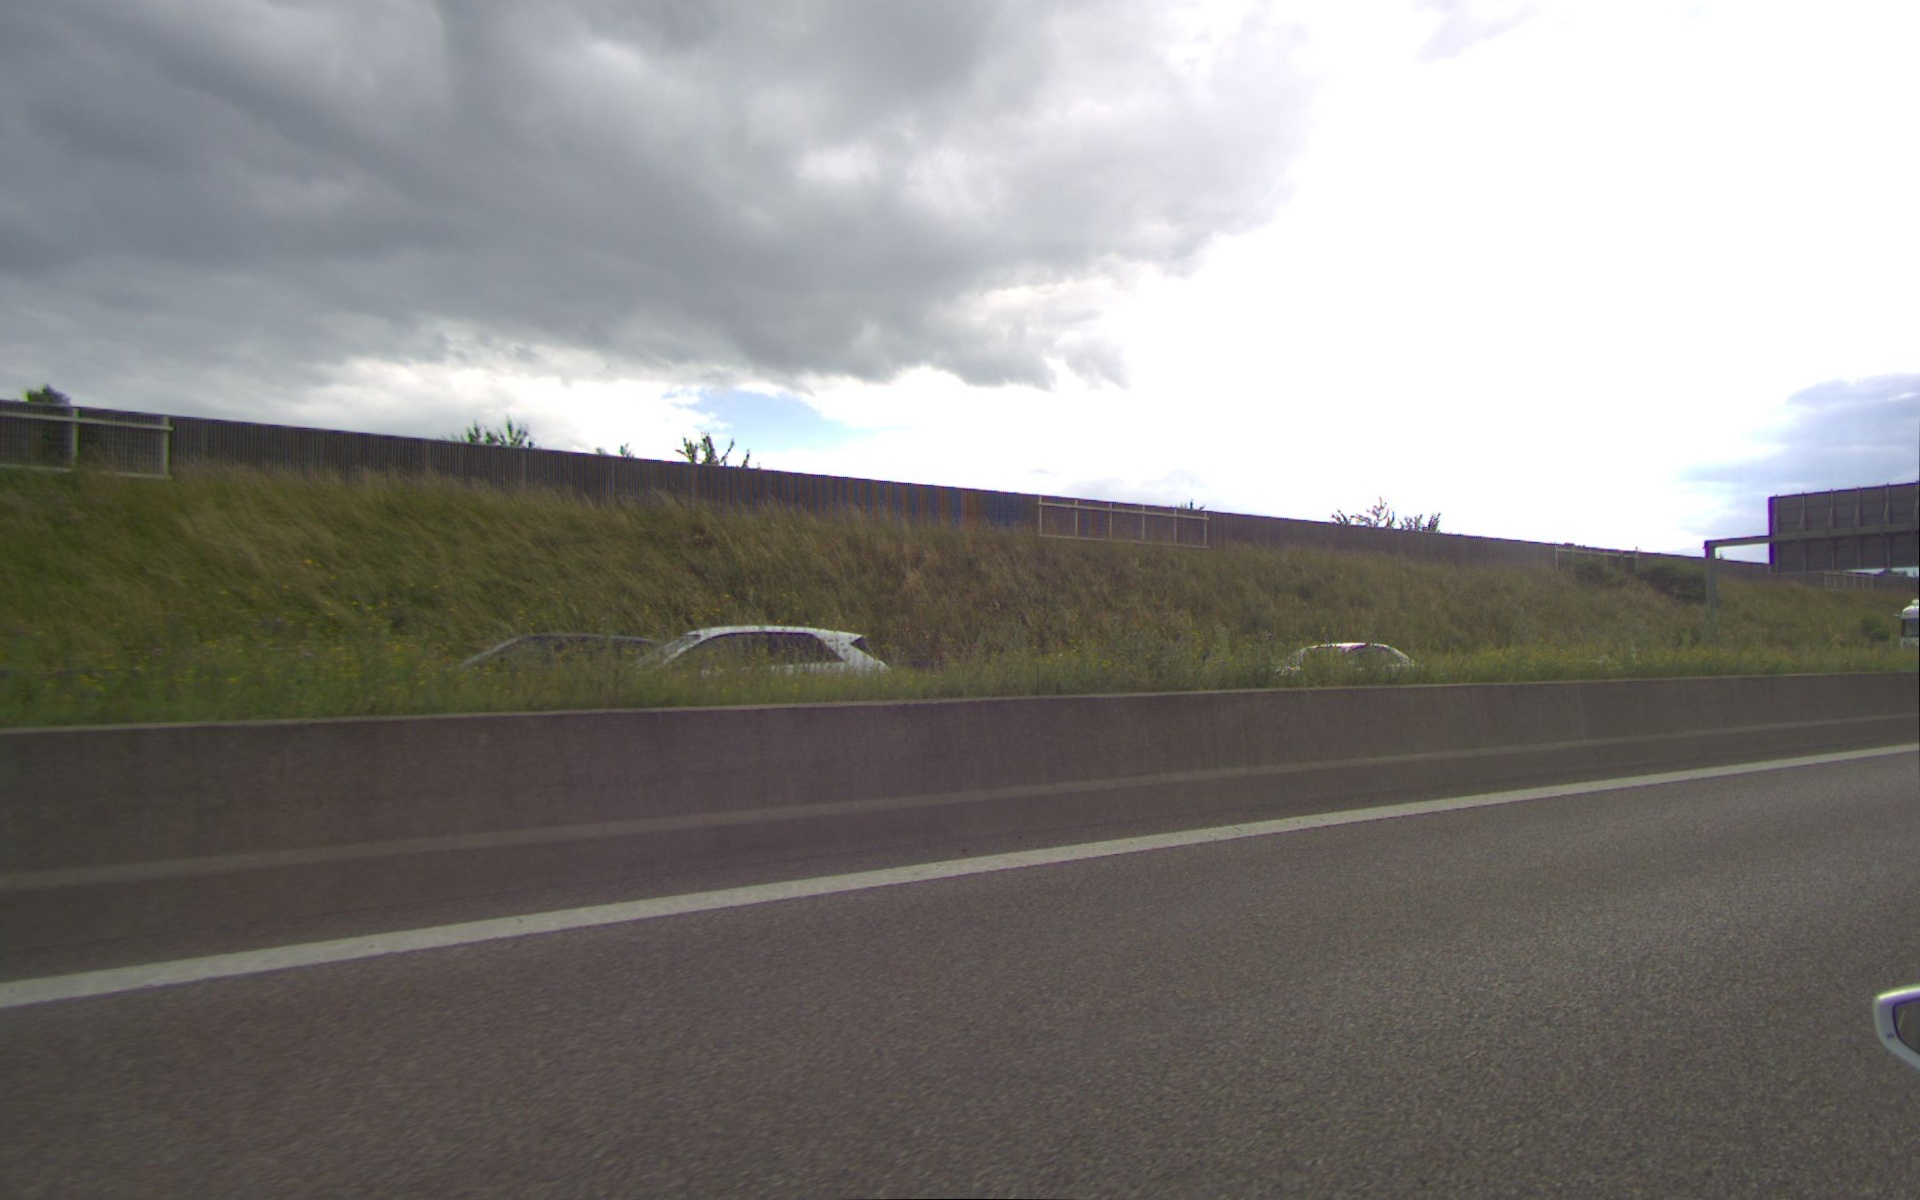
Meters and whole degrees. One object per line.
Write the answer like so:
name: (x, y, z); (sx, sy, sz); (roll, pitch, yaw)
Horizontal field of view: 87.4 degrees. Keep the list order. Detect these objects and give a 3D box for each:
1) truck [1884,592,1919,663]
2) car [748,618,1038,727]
truck: (53.793, 1.531, 54.888); (7.401, 3.725, 2.714); (1, -2, -30)
car: (-0.904, 0.942, 13.950); (3.656, 1.288, 1.702); (1, 0, -31)
